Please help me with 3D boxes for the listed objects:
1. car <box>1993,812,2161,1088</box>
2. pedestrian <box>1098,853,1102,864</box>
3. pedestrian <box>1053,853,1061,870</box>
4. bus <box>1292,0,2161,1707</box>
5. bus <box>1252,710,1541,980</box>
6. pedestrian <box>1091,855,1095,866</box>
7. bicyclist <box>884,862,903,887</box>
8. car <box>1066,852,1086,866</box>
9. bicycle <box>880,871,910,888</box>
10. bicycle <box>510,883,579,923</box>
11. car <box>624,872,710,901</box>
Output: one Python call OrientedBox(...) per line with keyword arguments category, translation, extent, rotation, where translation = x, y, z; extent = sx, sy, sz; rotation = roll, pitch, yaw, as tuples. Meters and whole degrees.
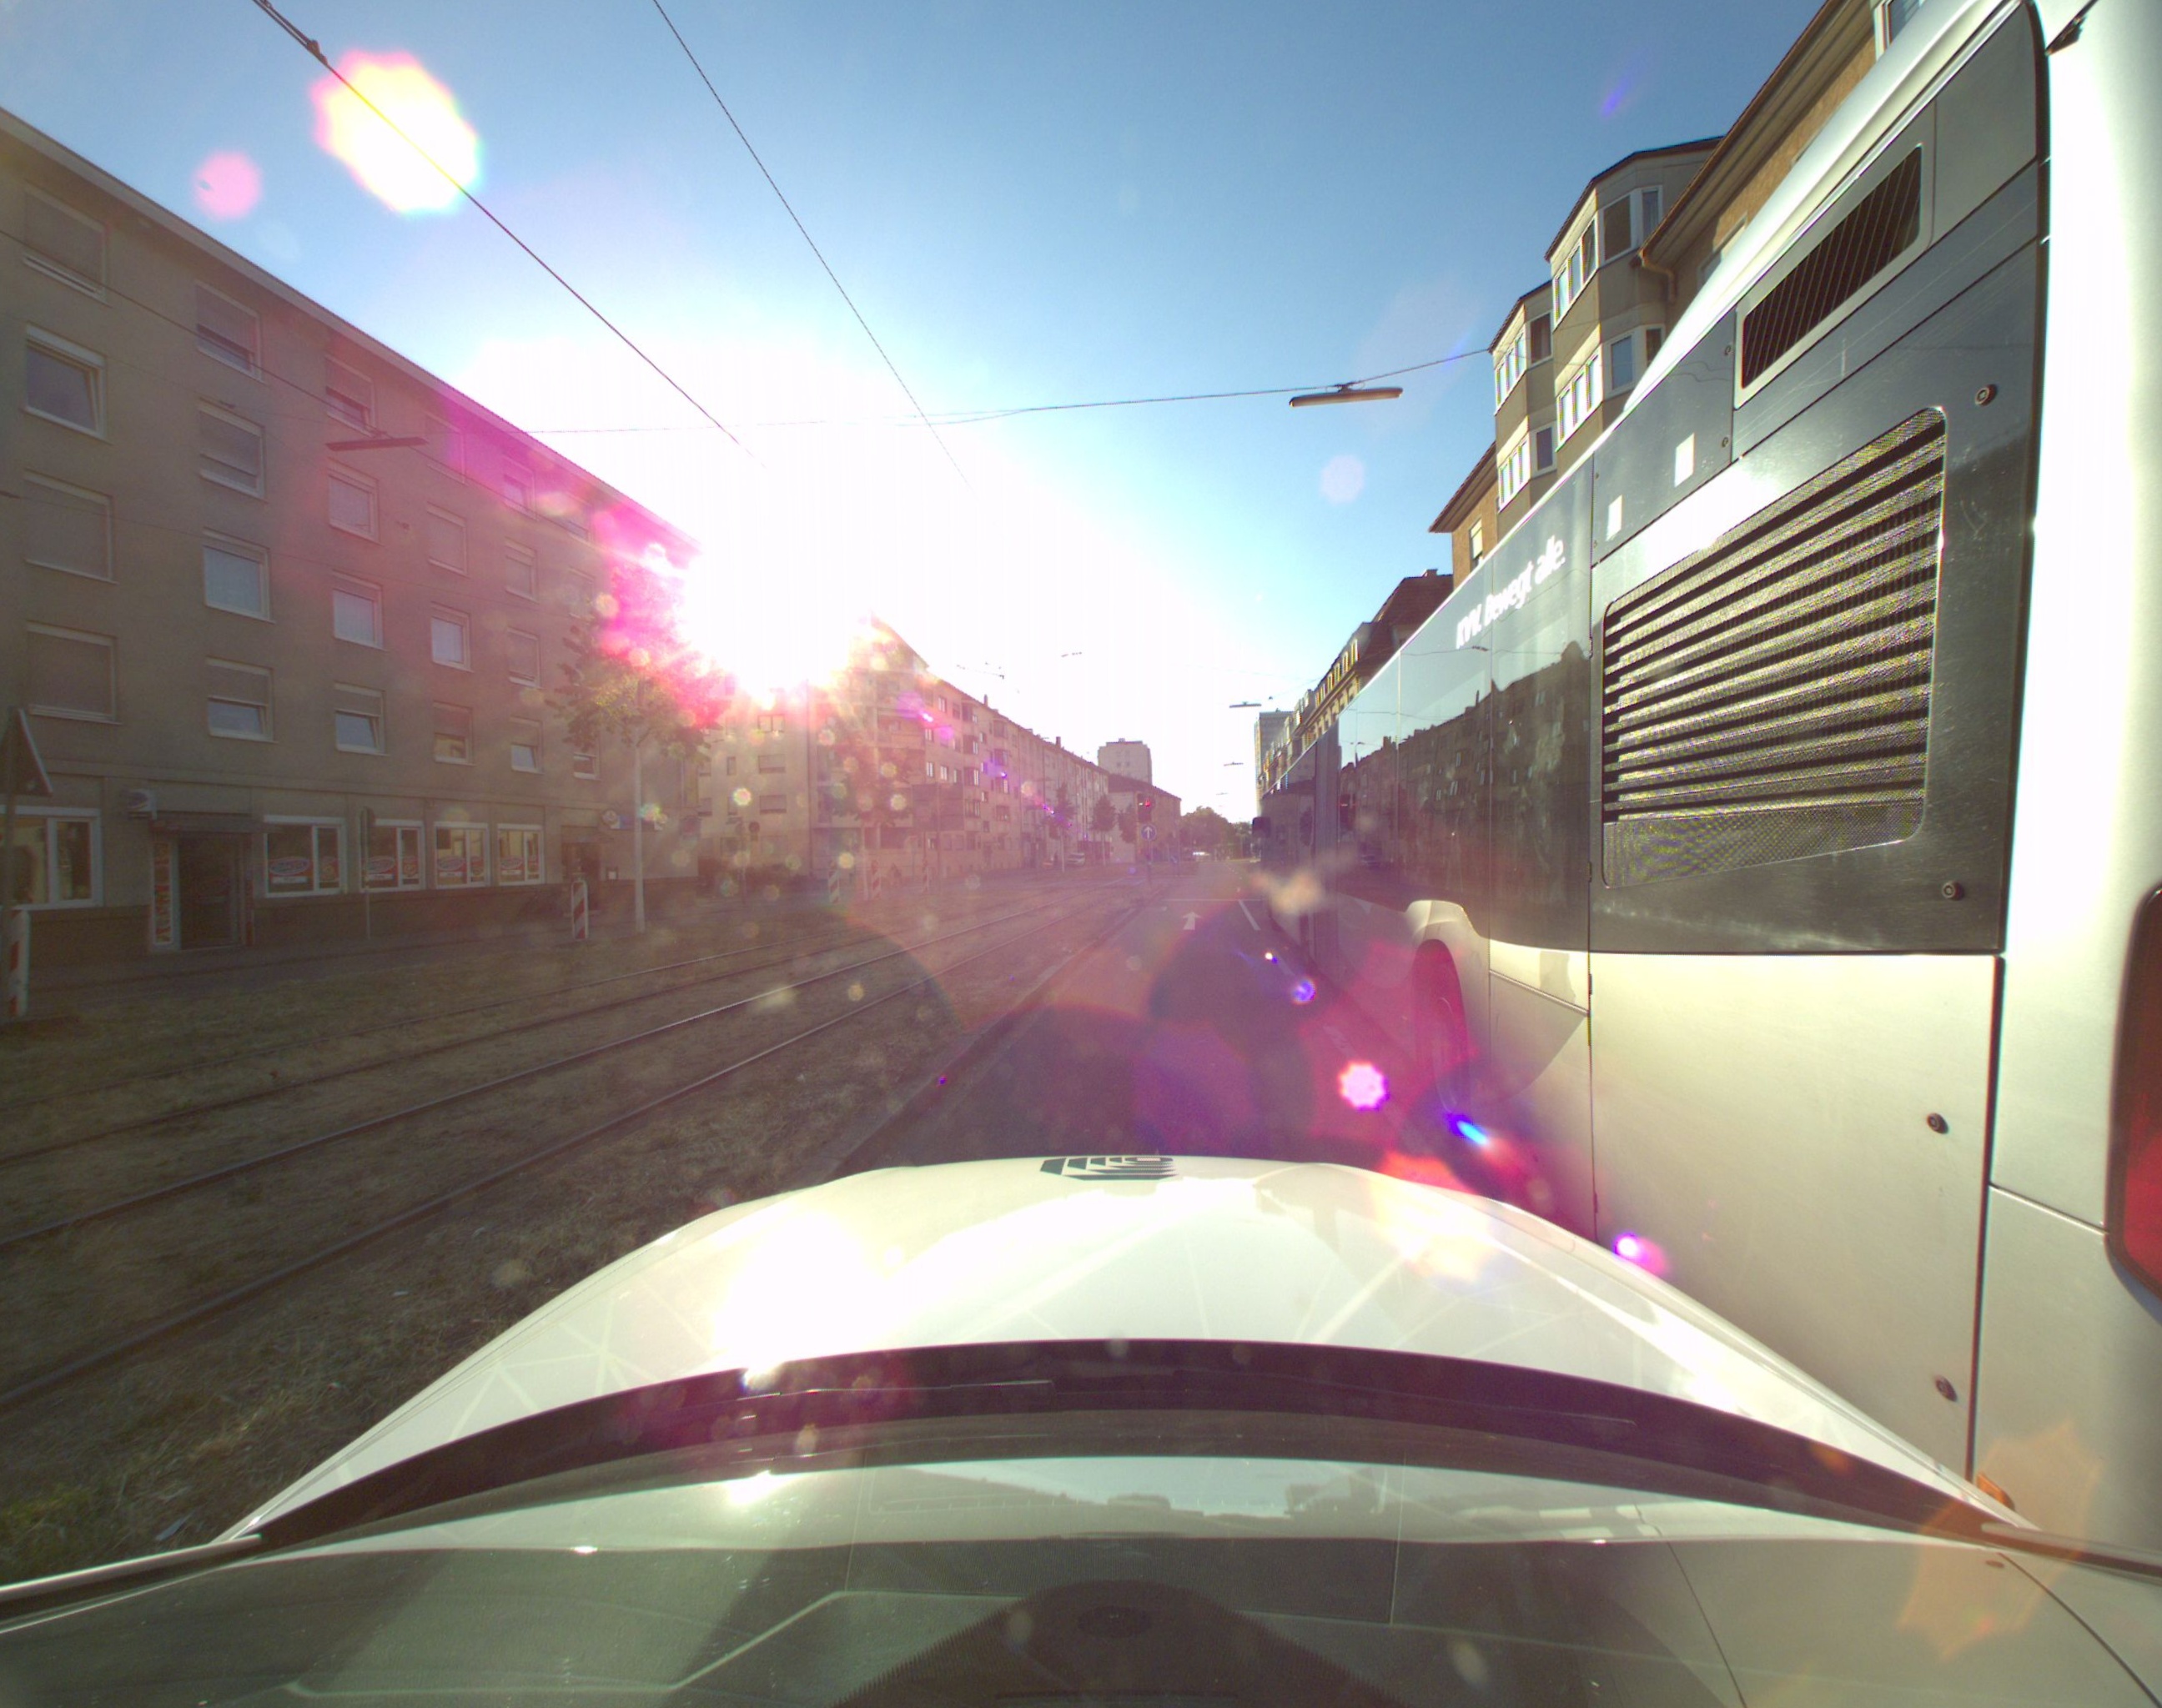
OrientedBox(category="car", translation=(6.956, 0.522, 3.637), extent=(1.828, 1.588, 3.795), rotation=(-2, 0, 9))
OrientedBox(category="pedestrian", translation=(2.920, 0.731, 124.240), extent=(0.492, 1.658, 0.409), rotation=(-2, -1, 9))
OrientedBox(category="pedestrian", translation=(-3.044, 0.945, 103.094), extent=(0.782, 2.013, 0.892), rotation=(-2, 0, 5))
OrientedBox(category="bus", translation=(3.157, -0.087, 5.029), extent=(2.722, 3.056, 8.876), rotation=(0, 0, 9))
OrientedBox(category="bus", translation=(4.565, -0.110, 13.932), extent=(2.722, 3.056, 9.154), rotation=(0, 0, 9))
OrientedBox(category="pedestrian", translation=(1.771, 1.007, 124.010), extent=(0.492, 1.658, 0.409), rotation=(-2, -1, 9))
OrientedBox(category="bicyclist", translation=(-11.509, 1.259, 50.065), extent=(0.522, 1.447, 0.971), rotation=(-3, -1, 39))
OrientedBox(category="car", translation=(-0.682, 0.707, 105.714), extent=(1.800, 1.798, 4.257), rotation=(0, -1, 10))
OrientedBox(category="bicycle", translation=(-11.456, 1.560, 50.181), extent=(0.522, 0.984, 1.895), rotation=(-3, 0, 39))
OrientedBox(category="bicycle", translation=(-16.607, 1.507, 25.280), extent=(0.742, 1.115, 1.783), rotation=(-2, 0, 9))
OrientedBox(category="car", translation=(-23.897, 1.842, 47.100), extent=(3.947, 1.440, 1.790), rotation=(-3, -1, -1))
